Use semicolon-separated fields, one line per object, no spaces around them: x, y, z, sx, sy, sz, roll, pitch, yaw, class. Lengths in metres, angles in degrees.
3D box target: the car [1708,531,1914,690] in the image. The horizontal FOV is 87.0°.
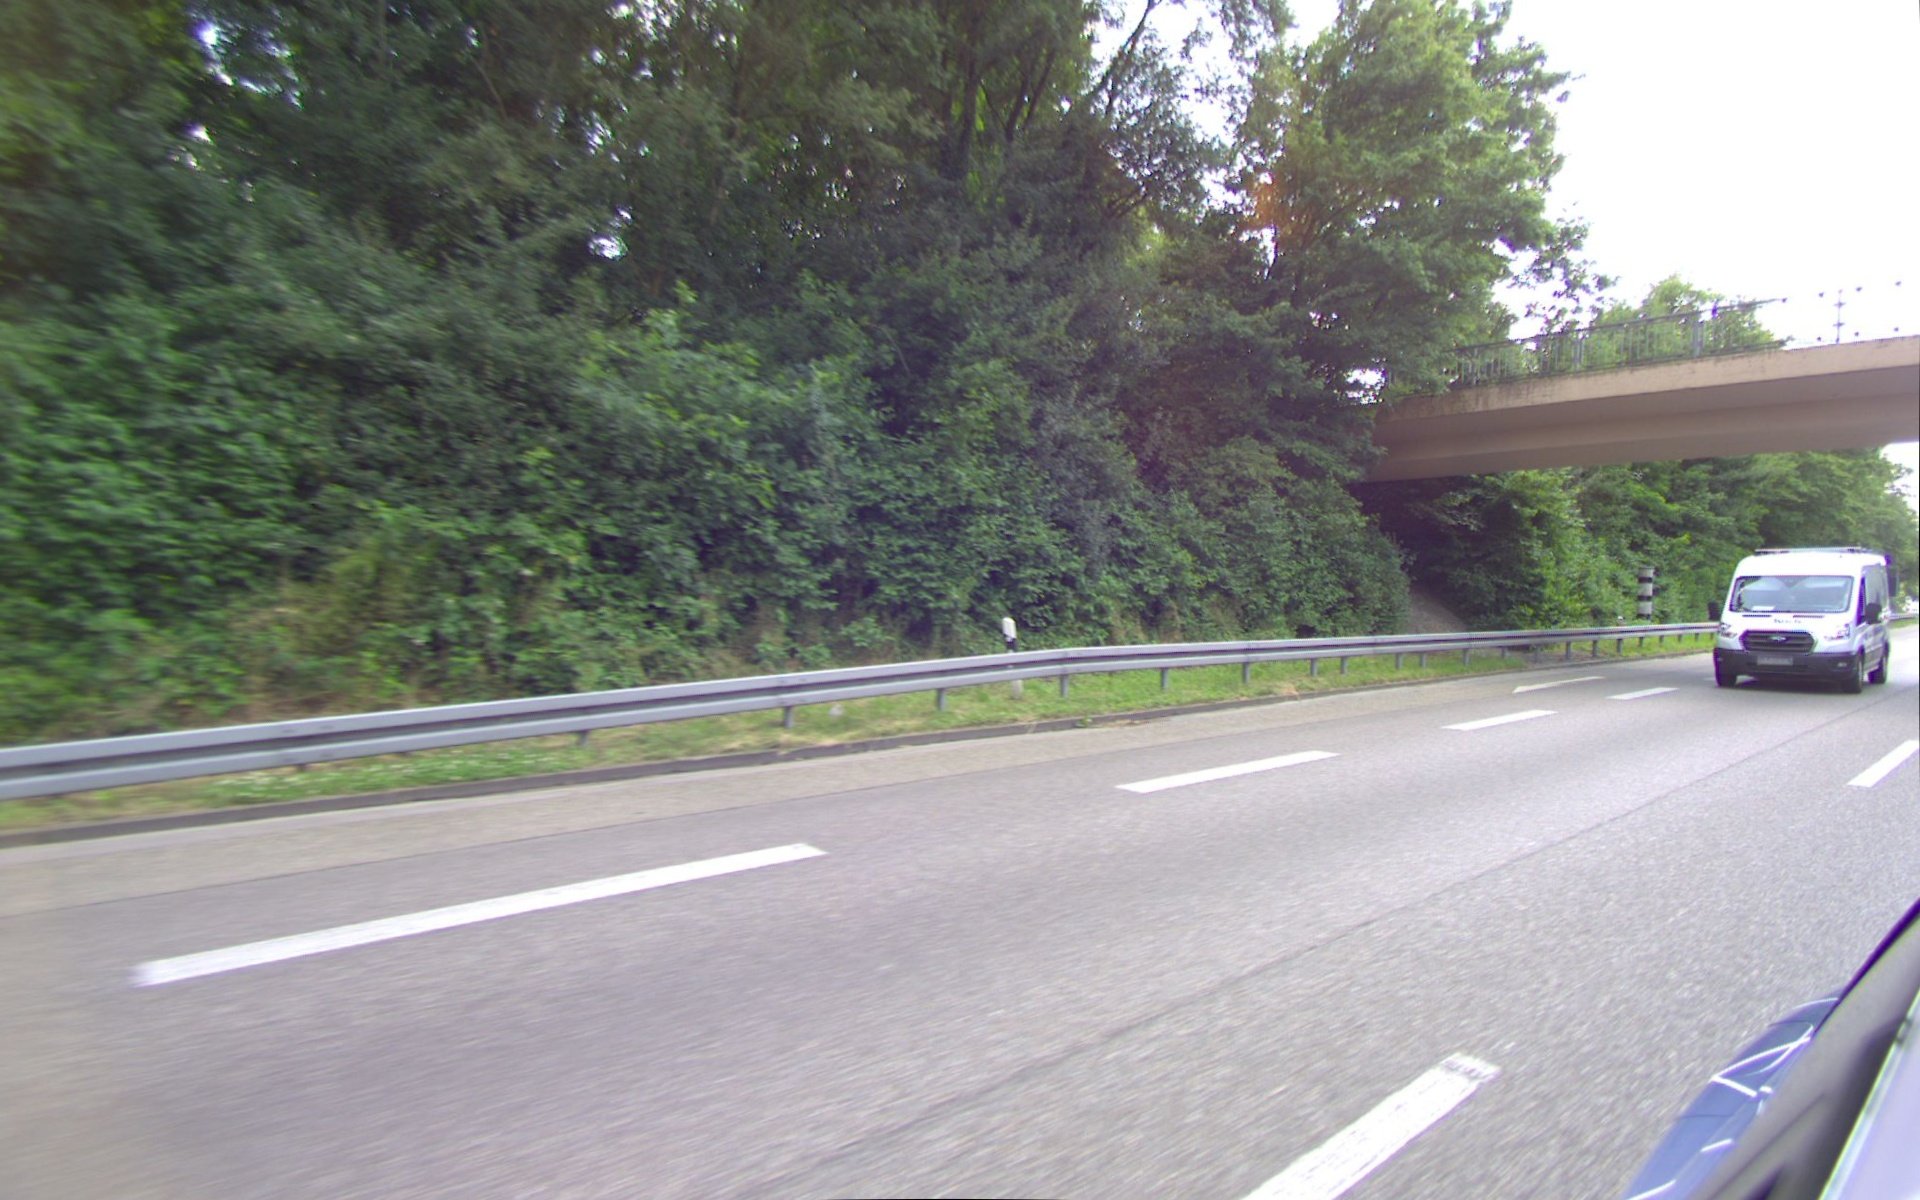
15.764;0.171;18.639;5.186;2.539;2.102;0;0;-41;car
